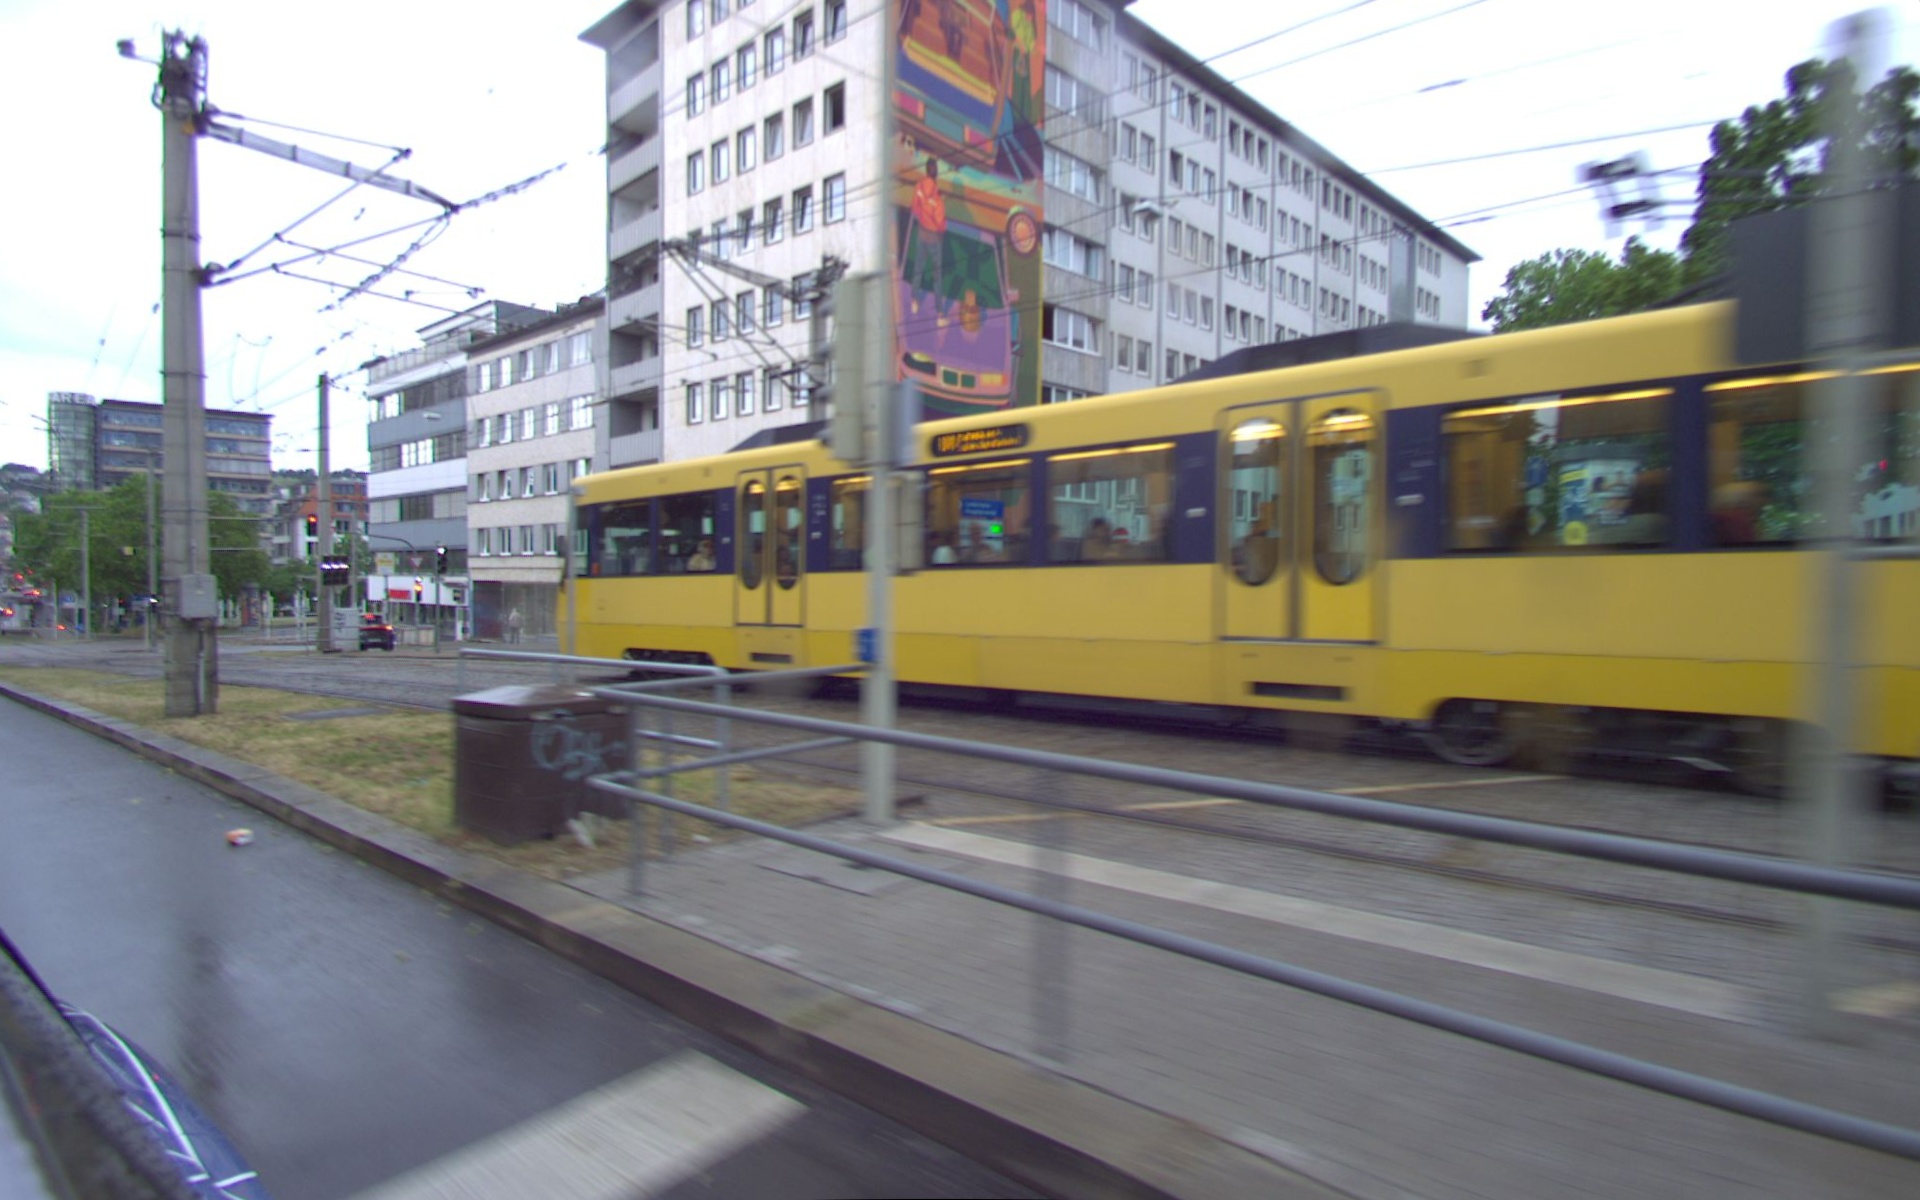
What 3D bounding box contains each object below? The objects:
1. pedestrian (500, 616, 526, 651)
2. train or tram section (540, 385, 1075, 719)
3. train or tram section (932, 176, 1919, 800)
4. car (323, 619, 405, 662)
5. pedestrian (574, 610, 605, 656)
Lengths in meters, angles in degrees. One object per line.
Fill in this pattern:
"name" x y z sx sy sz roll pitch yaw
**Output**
"pedestrian" -21.066 1.568 47.681 0.892 1.605 0.781 -3 -1 44
"train or tram section" -2.799 -0.516 15.275 8.970 3.719 2.750 -1 1 41
"train or tram section" 4.203 -0.655 9.197 9.504 3.719 2.750 -1 1 41
"car" -24.866 1.711 42.200 3.865 1.646 1.801 -3 -1 41
"pedestrian" -14.219 1.278 38.841 0.776 1.720 0.893 -2 -1 -43
